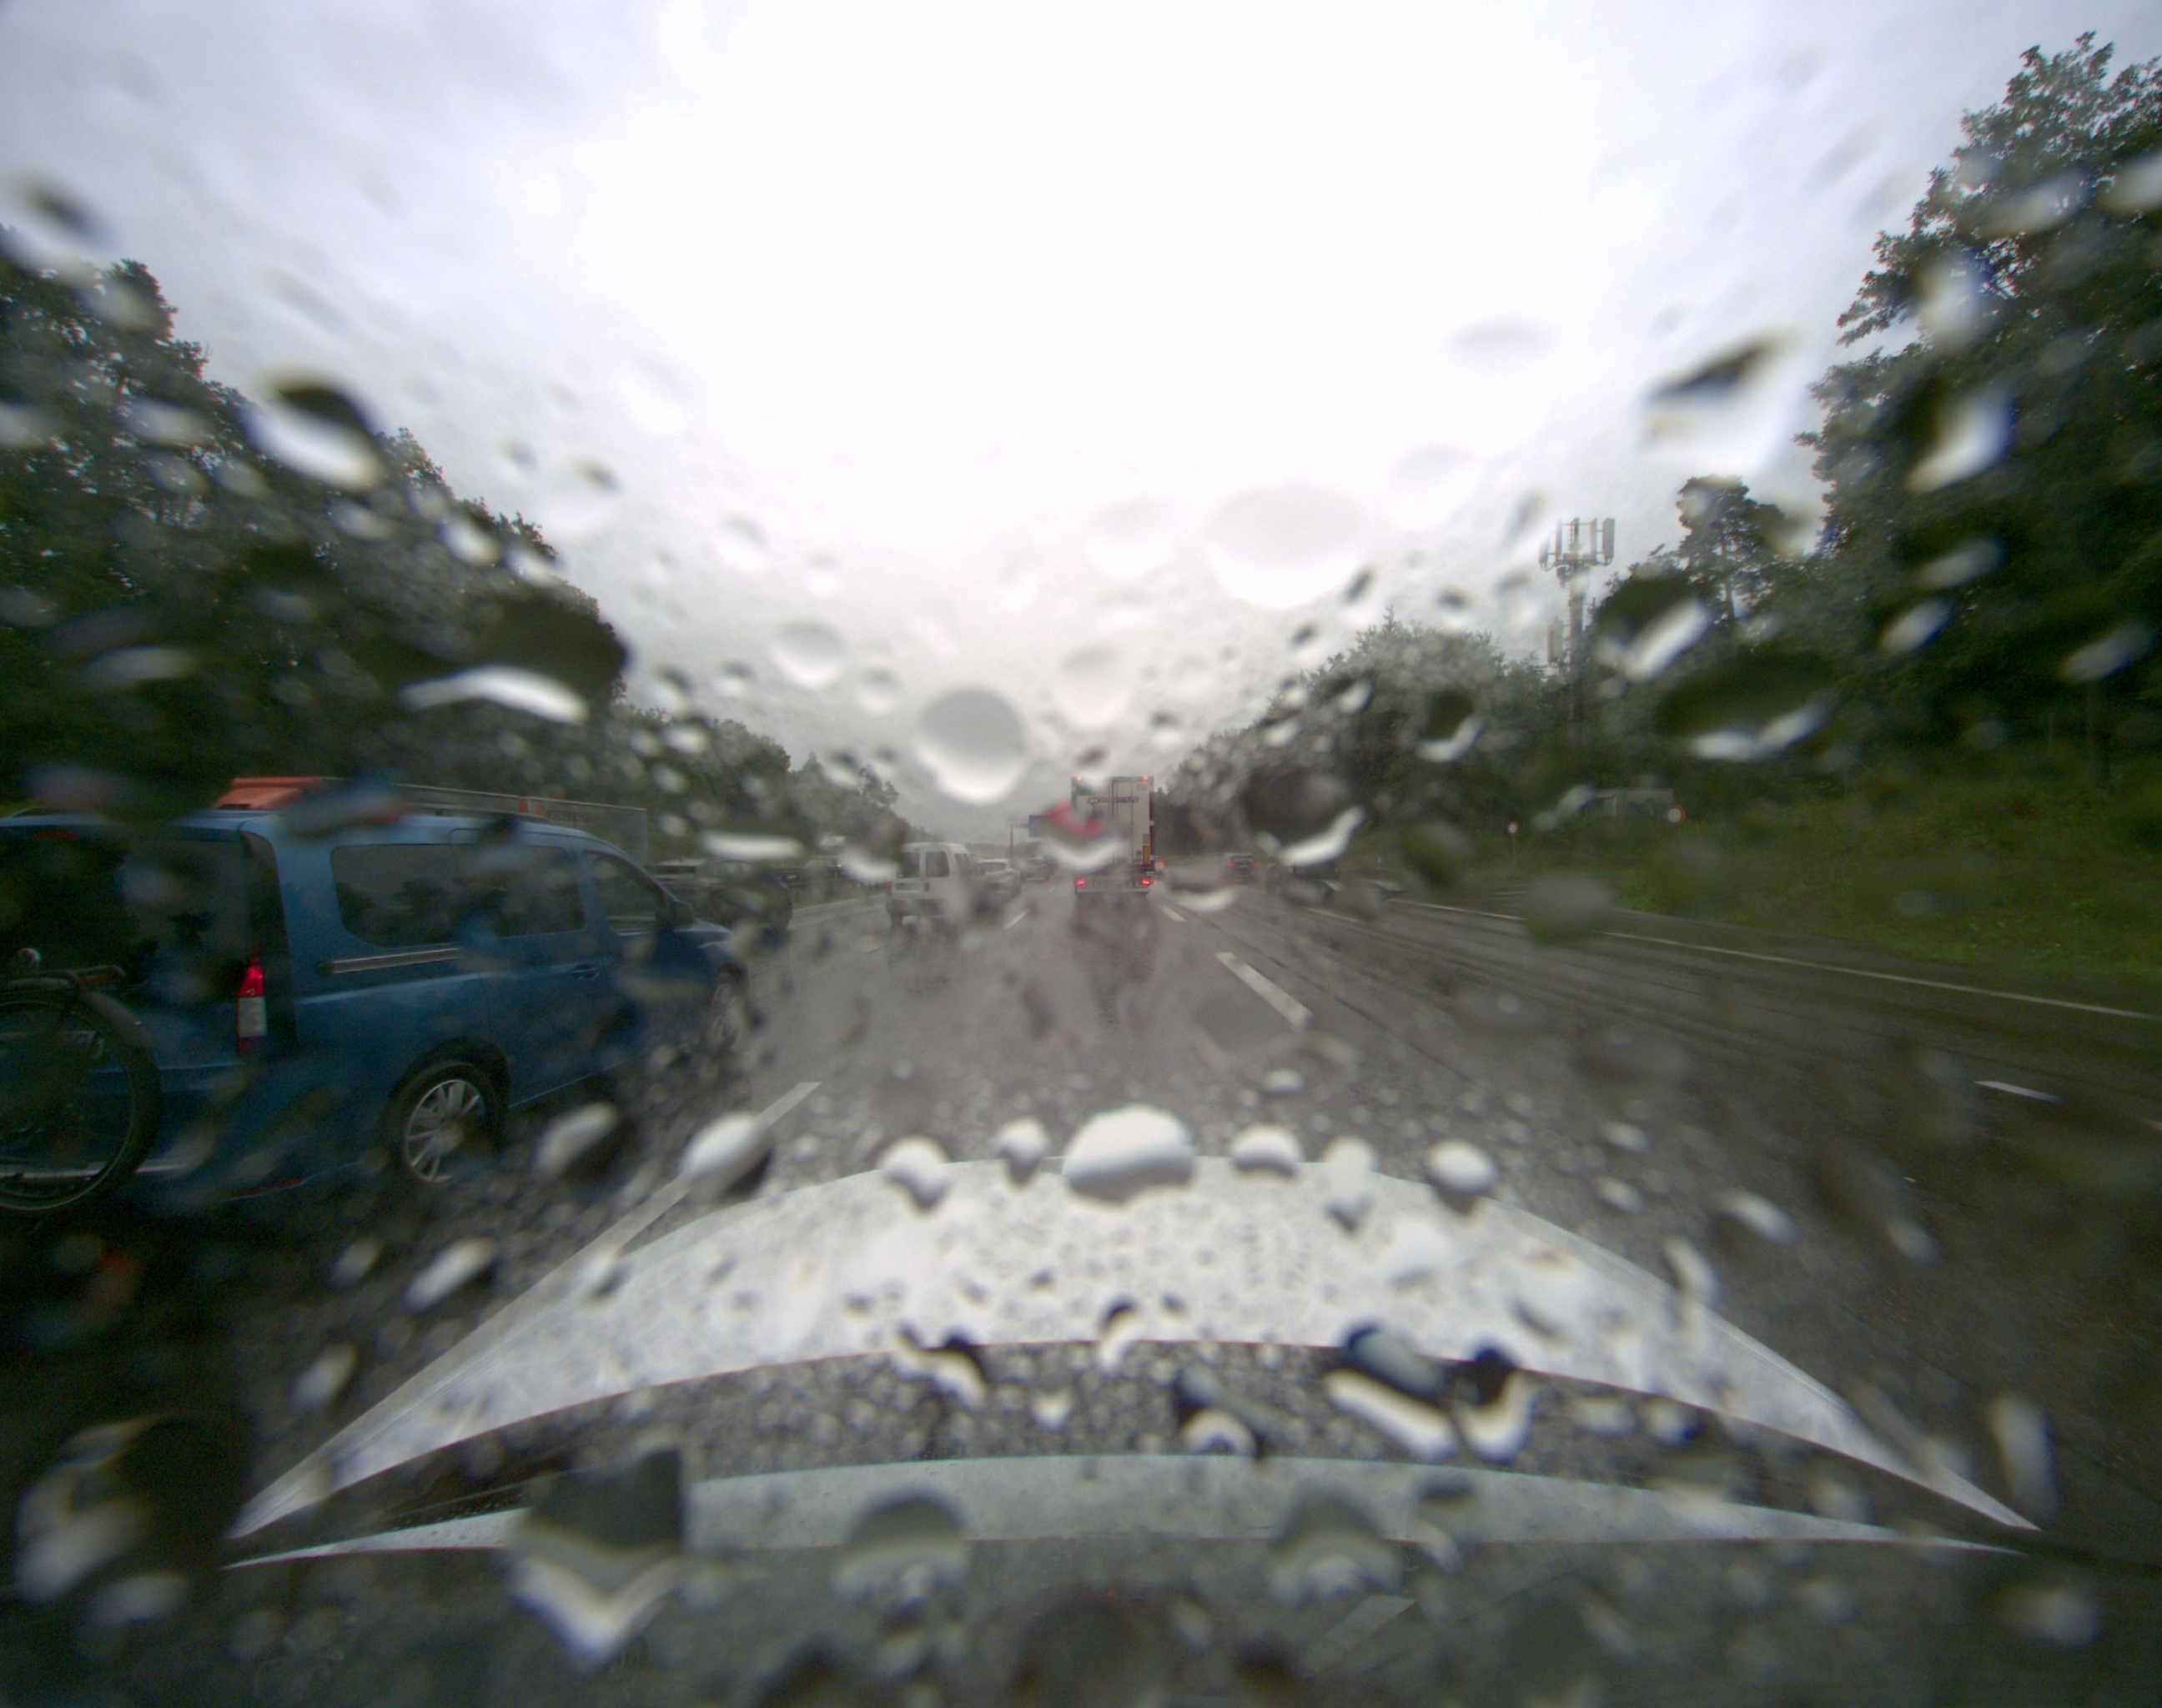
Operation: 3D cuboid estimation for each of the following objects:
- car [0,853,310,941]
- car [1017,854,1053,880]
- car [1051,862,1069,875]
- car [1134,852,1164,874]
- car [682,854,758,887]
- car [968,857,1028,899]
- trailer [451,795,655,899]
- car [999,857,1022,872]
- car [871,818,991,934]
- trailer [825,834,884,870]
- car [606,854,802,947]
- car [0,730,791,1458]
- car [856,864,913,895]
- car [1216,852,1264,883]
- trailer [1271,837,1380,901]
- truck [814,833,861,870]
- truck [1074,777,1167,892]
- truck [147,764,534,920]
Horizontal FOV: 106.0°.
[{"bbox_3d":[-18.416,0.749,16.289,1.830,1.497,4.331,-1,0,0],"label":"car"},{"bbox_3d":[-2.901,0.783,52.537,1.838,1.591,4.470,-1,0,3],"label":"car"},{"bbox_3d":[-2.324,1.542,90.279,1.840,1.330,4.465,-1,0,-1],"label":"car"},{"bbox_3d":[4.554,0.569,55.225,1.882,1.425,4.486,-1,0,3],"label":"car"},{"bbox_3d":[-17.942,0.788,40.705,1.829,1.497,4.332,-1,0,1],"label":"car"},{"bbox_3d":[-3.375,0.946,33.801,1.838,1.591,4.075,-1,0,3],"label":"car"},{"bbox_3d":[-21.957,-0.247,34.761,2.673,3.818,9.008,-1,0,1],"label":"trailer"},{"bbox_3d":[-6.811,0.999,79.002,1.840,1.330,4.465,-1,0,-1],"label":"car"},{"bbox_3d":[-3.649,0.487,20.815,2.206,2.573,5.013,-1,0,-1],"label":"car"},{"bbox_3d":[-26.026,-0.263,94.390,3.014,3.818,13.558,-1,0,0],"label":"trailer"},{"bbox_3d":[-7.344,0.818,16.450,1.839,1.591,4.466,-1,0,0],"label":"car"},{"bbox_3d":[-3.811,0.632,4.599,2.259,1.912,5.020,-1,0,4],"label":"car"},{"bbox_3d":[-11.435,1.436,47.672,2.084,1.504,4.753,-3,0,0],"label":"car"},{"bbox_3d":[8.712,0.685,45.015,1.981,1.583,4.772,-1,0,4],"label":"car"},{"bbox_3d":[7.194,0.395,24.536,2.232,1.714,5.090,-1,0,6],"label":"trailer"},{"bbox_3d":[-26.083,-0.284,87.399,3.010,3.818,6.265,-1,0,1],"label":"truck"},{"bbox_3d":[1.443,-0.565,30.994,2.861,3.562,11.307,-1,-1,2],"label":"truck"},{"bbox_3d":[-22.275,-0.301,25.782,2.693,3.931,10.034,-1,0,3],"label":"truck"}]
